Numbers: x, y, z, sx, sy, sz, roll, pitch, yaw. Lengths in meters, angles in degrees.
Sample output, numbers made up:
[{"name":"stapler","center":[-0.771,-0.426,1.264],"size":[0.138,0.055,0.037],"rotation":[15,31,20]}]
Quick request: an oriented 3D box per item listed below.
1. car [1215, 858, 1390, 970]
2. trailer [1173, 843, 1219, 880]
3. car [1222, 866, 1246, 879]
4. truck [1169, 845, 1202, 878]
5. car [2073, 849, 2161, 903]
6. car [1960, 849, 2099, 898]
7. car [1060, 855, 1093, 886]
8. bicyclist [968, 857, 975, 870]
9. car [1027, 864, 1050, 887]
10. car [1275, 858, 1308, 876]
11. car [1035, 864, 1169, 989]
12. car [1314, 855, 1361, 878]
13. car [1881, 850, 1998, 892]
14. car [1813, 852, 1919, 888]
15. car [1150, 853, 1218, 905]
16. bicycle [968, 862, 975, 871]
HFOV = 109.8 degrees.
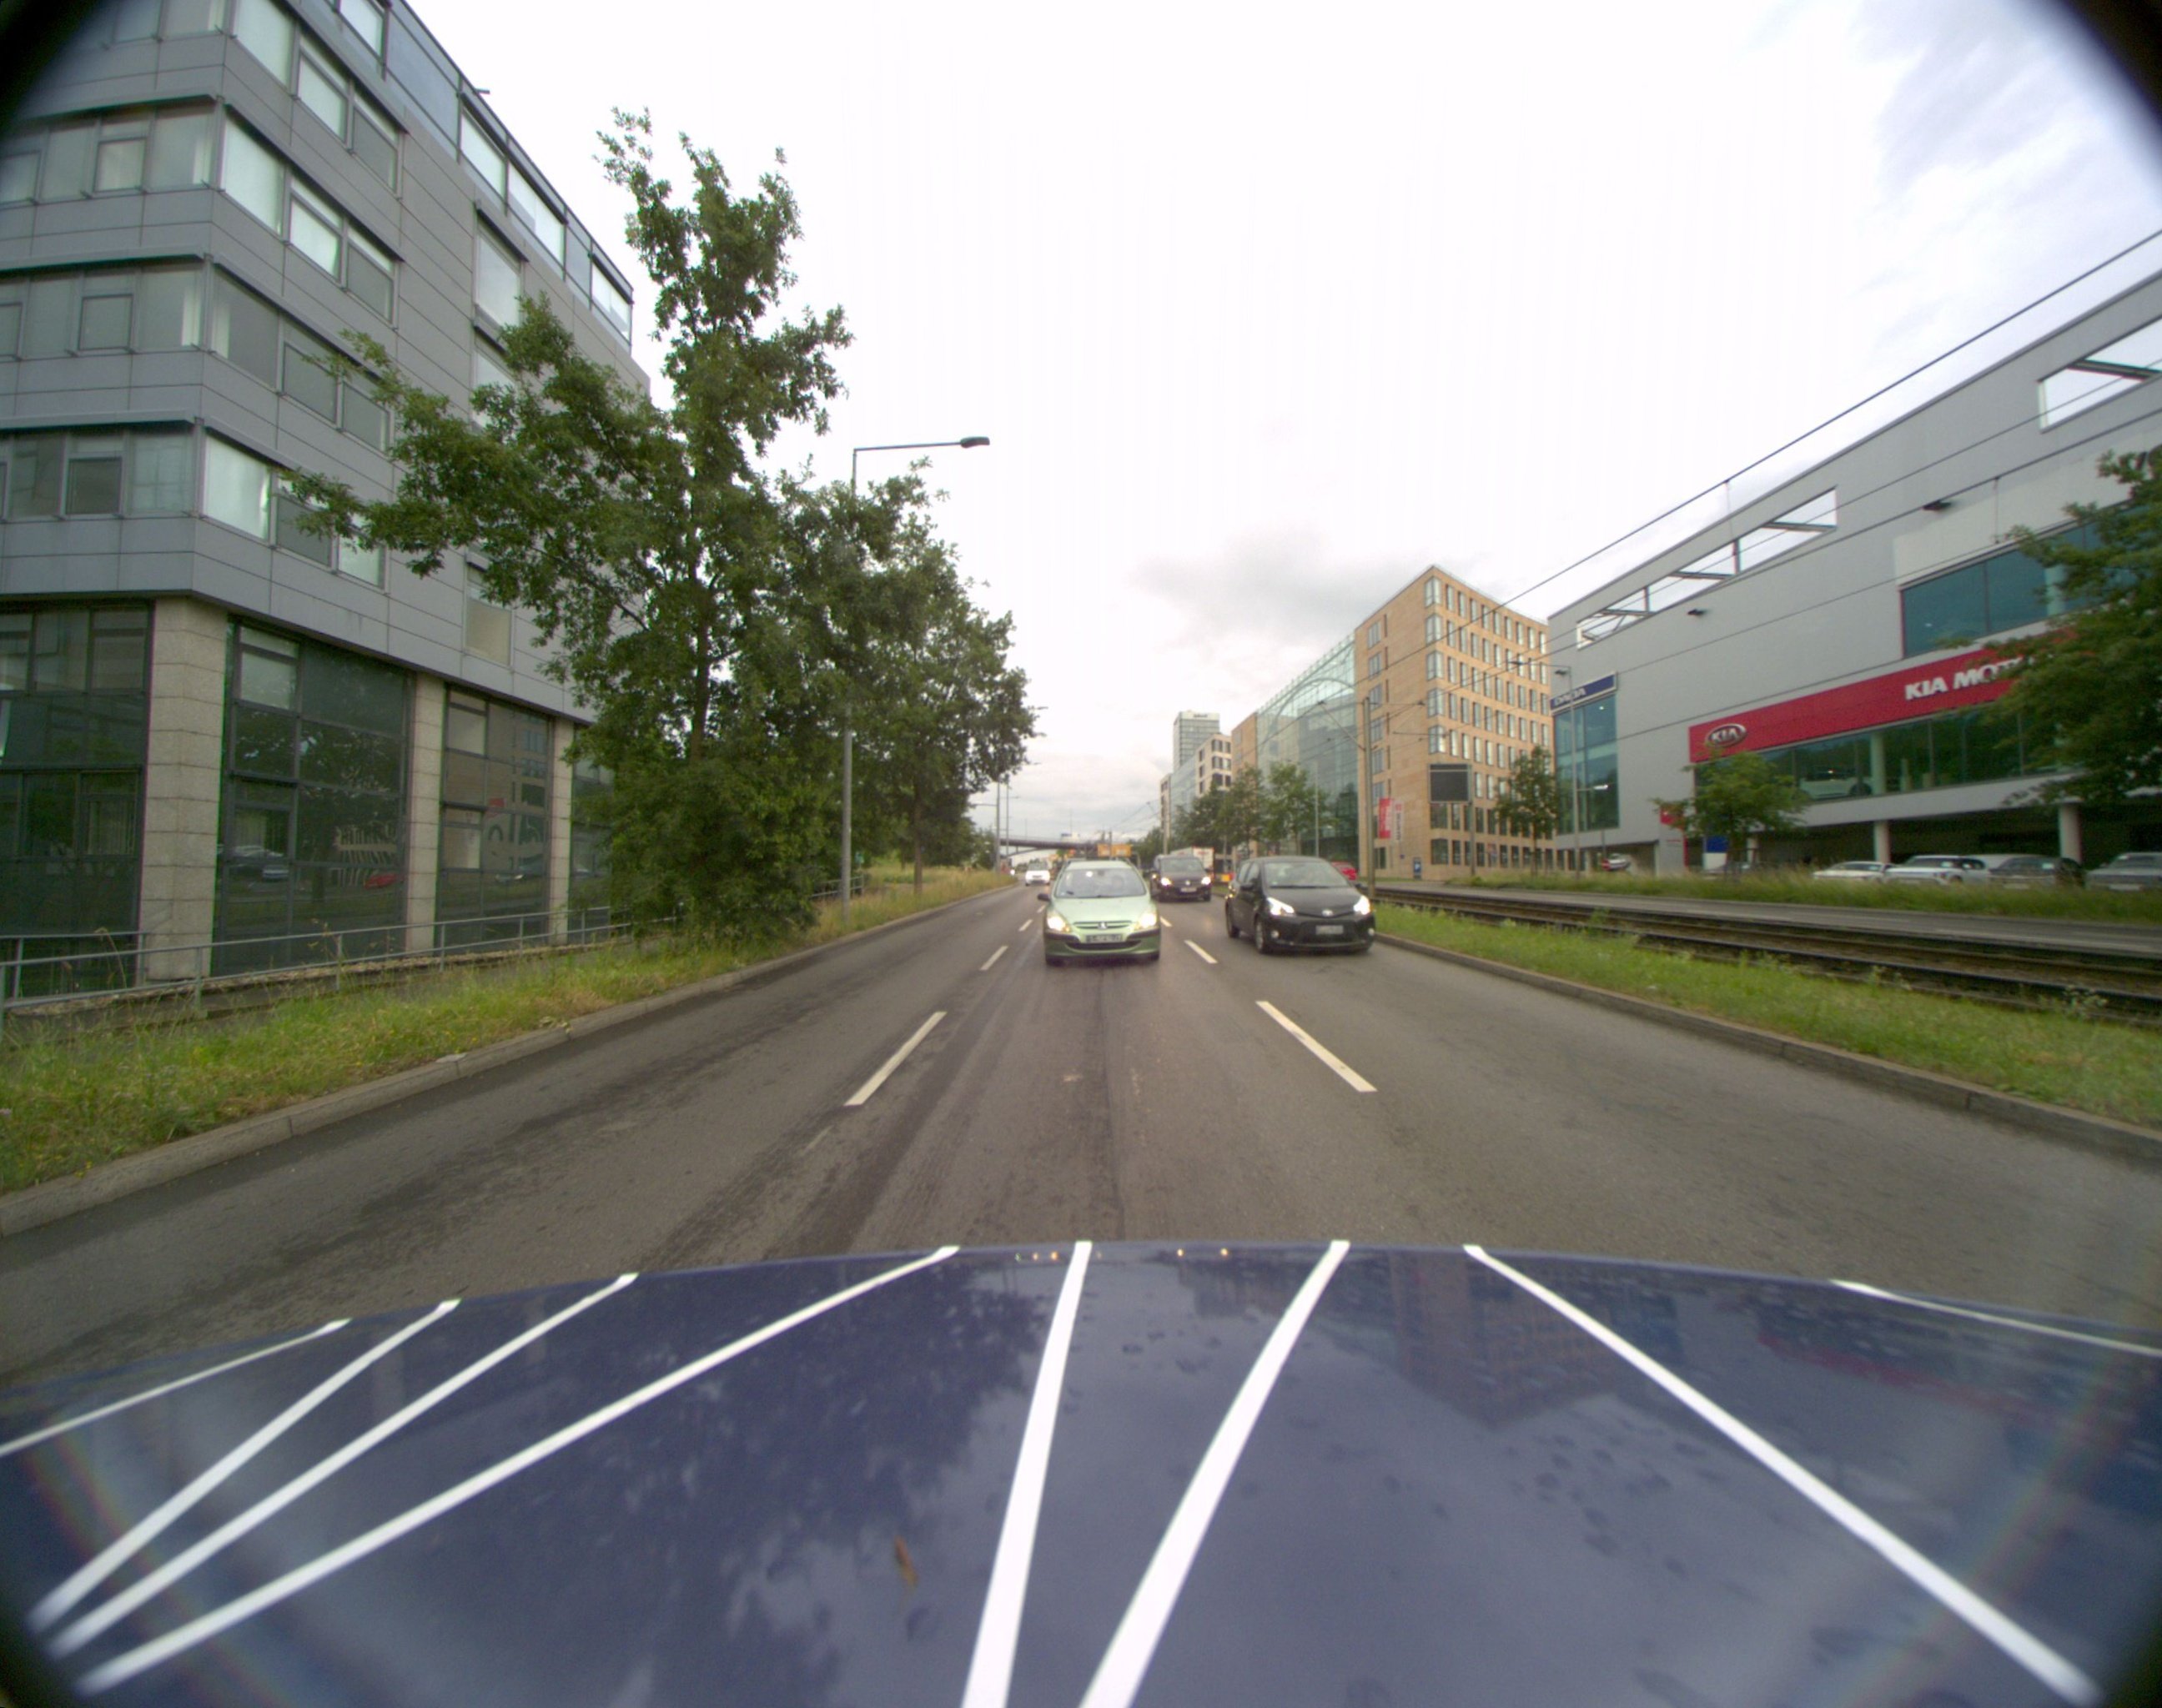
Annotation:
[{"name":"car","center":[3.499,0.863,12.732],"size":[1.704,1.523,3.826],"rotation":[-1,0,-1]},{"name":"trailer","center":[14.483,0.917,97.061],"size":[3.143,4.304,13.277],"rotation":[2,0,-3]},{"name":"car","center":[18.209,2.202,90.655],"size":[1.689,1.361,4.023],"rotation":[-1,0,-6]},{"name":"truck","center":[14.177,1.039,103.938],"size":[3.144,4.219,7.026],"rotation":[2,0,-3]},{"name":"car","center":[32.022,0.630,22.829],"size":[3.528,1.344,1.696],"rotation":[-4,0,-20]},{"name":"car","center":[31.606,0.613,25.343],"size":[3.528,1.344,1.696],"rotation":[-4,0,-17]},{"name":"car","center":[-0.307,0.911,44.187],"size":[1.759,1.649,4.337],"rotation":[-1,0,-1]},{"name":"bicyclist","center":[-13.905,1.222,96.621],"size":[0.647,1.569,0.855],"rotation":[-2,0,1]},{"name":"car","center":[-2.931,1.450,52.919],"size":[1.518,1.495,3.167],"rotation":[-1,0,-2]},{"name":"car","center":[19.350,1.207,70.090],"size":[1.689,1.571,4.098],"rotation":[-1,0,-4]},{"name":"car","center":[0.276,0.969,12.047],"size":[1.704,1.523,4.371],"rotation":[-1,0,0]},{"name":"car","center":[17.554,0.825,52.191],"size":[1.589,1.504,4.100],"rotation":[1,0,-3]},{"name":"car","center":[31.767,0.609,28.125],"size":[3.668,1.287,1.696],"rotation":[-4,0,-22]},{"name":"car","center":[31.745,0.628,30.730],"size":[3.668,1.181,1.696],"rotation":[-4,0,-22]},{"name":"car","center":[3.541,0.811,26.837],"size":[1.786,1.597,4.317],"rotation":[-2,0,0]},{"name":"bicycle","center":[-13.910,1.597,96.626],"size":[0.582,1.082,1.906],"rotation":[-2,0,1]}]
